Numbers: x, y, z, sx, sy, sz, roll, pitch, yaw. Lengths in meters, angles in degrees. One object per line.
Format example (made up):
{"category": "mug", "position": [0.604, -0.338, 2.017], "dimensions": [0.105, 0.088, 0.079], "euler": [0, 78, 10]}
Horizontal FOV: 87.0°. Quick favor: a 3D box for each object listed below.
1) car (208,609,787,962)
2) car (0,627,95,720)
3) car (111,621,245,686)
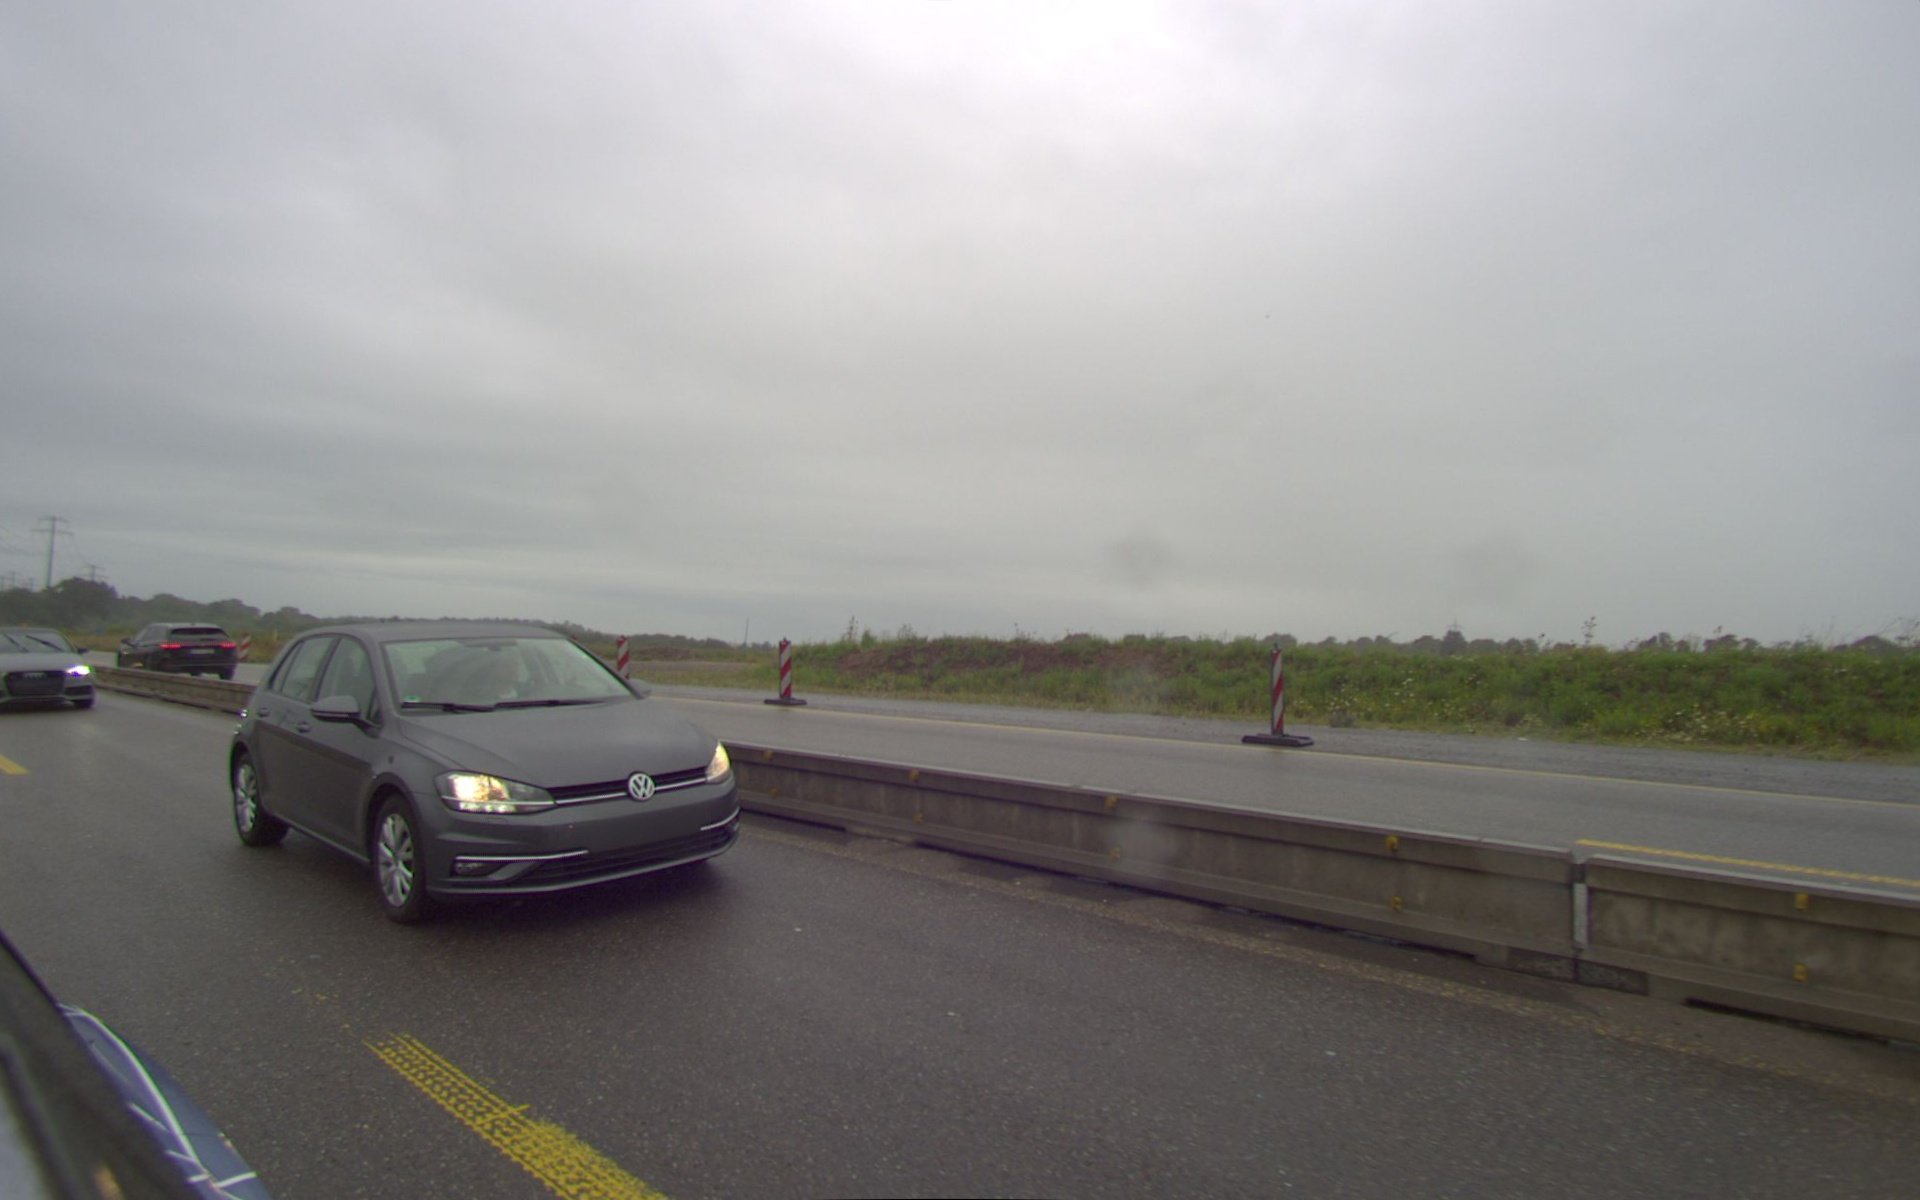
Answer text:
{"category": "car", "position": [-2.983, 0.772, 6.085], "dimensions": [4.078, 1.433, 1.632], "euler": [0, -1, 41]}
{"category": "car", "position": [-16.838, 1.230, 17.901], "dimensions": [4.267, 1.407, 1.776], "euler": [0, 0, 42]}
{"category": "car", "position": [-20.516, 1.333, 26.485], "dimensions": [4.578, 1.507, 1.875], "euler": [-1, 0, 40]}
